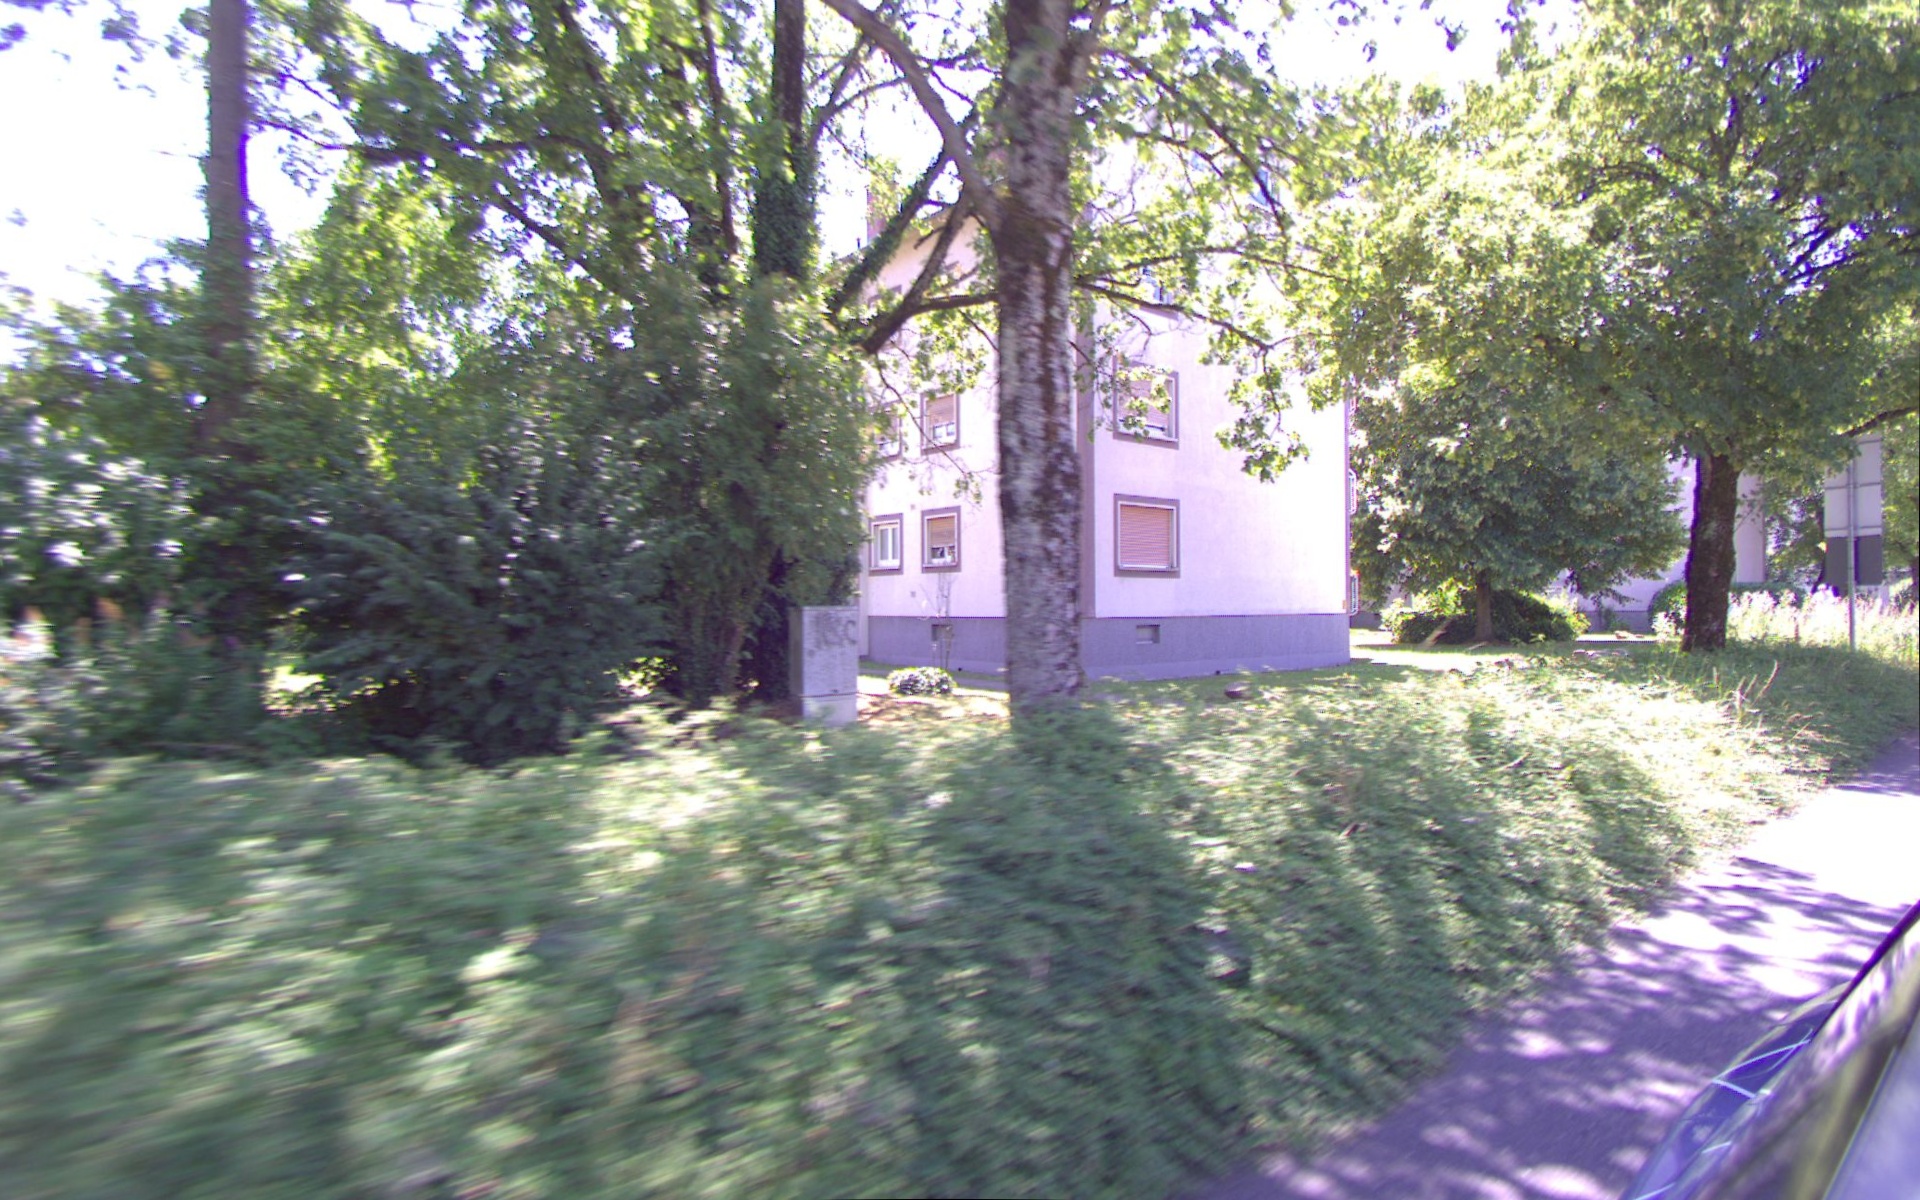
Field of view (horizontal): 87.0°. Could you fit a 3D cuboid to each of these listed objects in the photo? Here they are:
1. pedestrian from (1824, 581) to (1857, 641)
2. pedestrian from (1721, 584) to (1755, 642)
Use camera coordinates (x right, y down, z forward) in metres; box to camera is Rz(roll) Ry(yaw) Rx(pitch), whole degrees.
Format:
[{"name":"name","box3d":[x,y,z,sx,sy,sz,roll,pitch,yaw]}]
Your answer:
[{"name":"pedestrian","box3d":[28.087,0.335,32.293,0.669,1.897,0.893,0,0,32]},{"name":"pedestrian","box3d":[22.620,0.373,29.426,0.718,1.654,0.838,0,0,44]}]
